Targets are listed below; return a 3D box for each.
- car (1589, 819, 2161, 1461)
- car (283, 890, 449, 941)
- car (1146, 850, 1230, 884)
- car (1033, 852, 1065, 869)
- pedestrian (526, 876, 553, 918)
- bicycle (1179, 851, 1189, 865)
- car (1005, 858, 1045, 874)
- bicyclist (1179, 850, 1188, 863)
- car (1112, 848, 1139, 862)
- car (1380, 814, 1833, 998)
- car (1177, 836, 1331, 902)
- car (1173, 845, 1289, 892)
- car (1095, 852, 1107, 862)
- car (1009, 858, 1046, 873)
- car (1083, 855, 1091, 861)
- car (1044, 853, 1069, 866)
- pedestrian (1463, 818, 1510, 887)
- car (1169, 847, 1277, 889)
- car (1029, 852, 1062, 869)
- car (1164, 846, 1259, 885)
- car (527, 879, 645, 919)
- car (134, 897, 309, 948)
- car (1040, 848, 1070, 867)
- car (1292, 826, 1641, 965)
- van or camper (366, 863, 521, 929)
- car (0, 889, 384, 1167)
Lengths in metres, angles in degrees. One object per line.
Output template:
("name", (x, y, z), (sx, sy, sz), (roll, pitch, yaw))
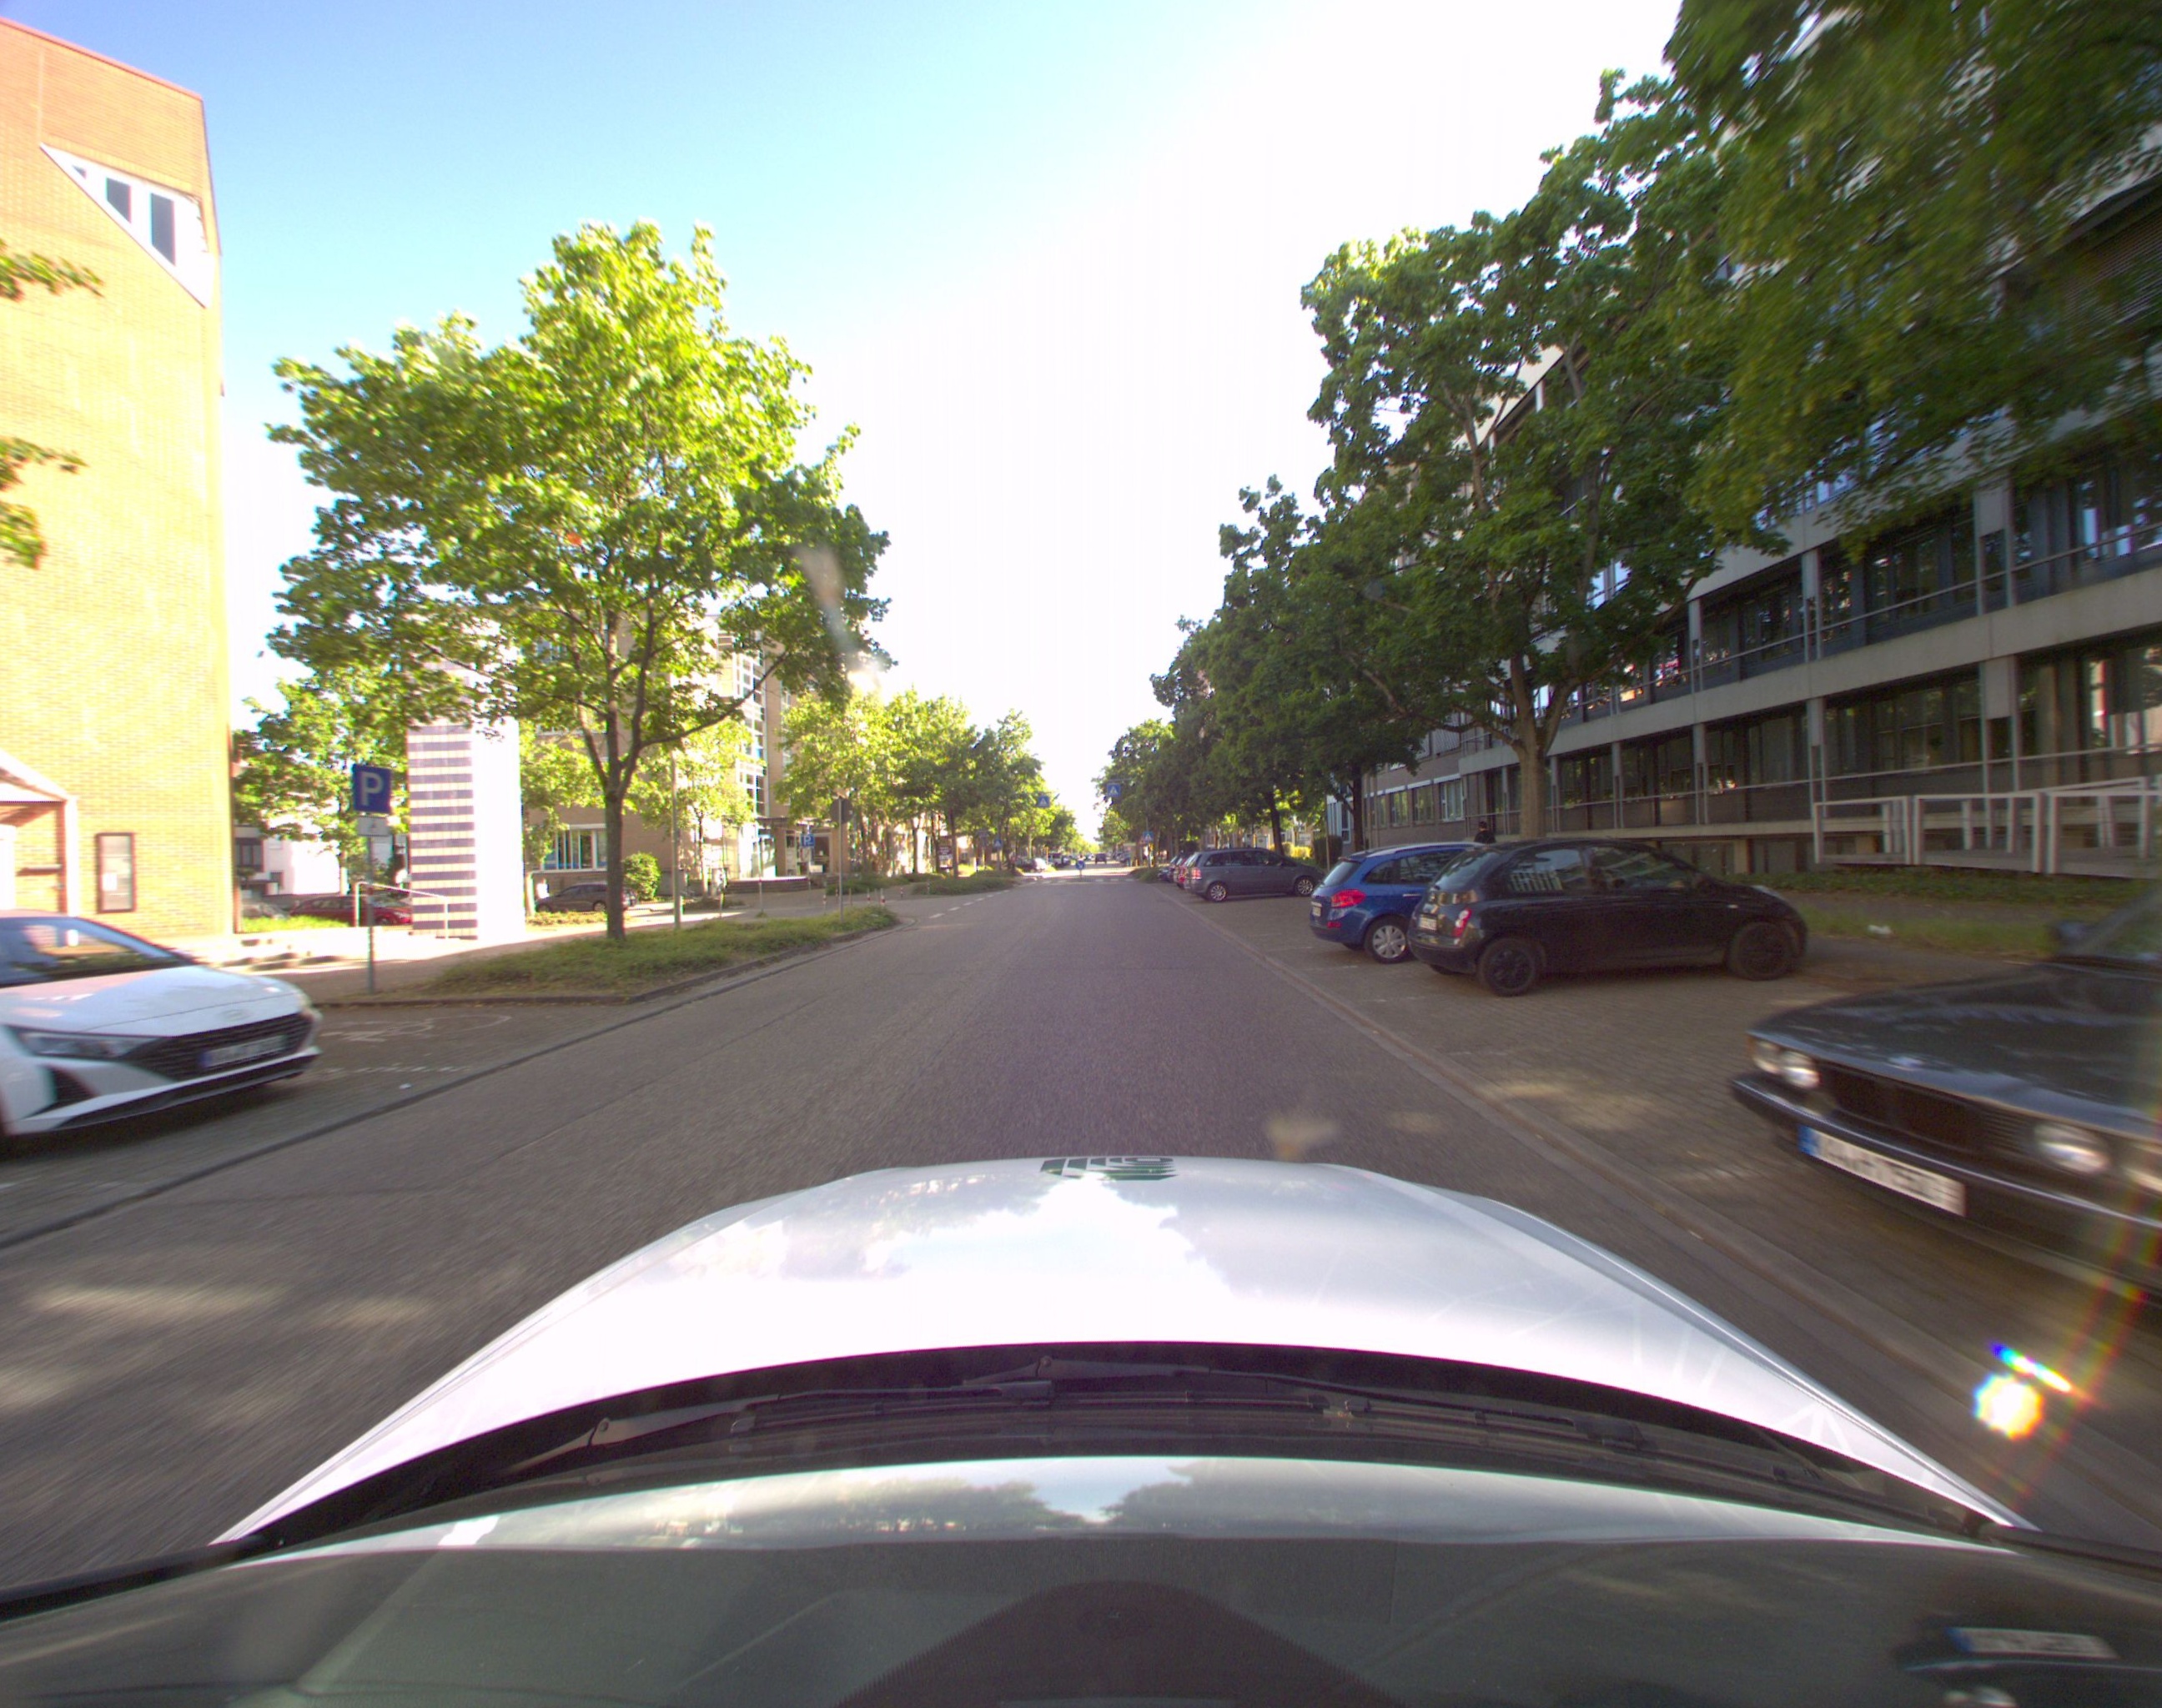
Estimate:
("car", (4.912, 0.566, 2.973), (4.811, 1.420, 2.031), (-4, 0, -1))
("car", (-25.550, 2.192, 29.223), (4.176, 1.477, 2.000), (-4, -3, 1))
("car", (5.686, 0.702, 43.760), (4.180, 1.473, 1.811), (-4, 0, -2))
("car", (-4.320, 0.883, 110.545), (3.968, 2.013, 2.003), (-3, 0, 5))
("pedestrian", (-26.639, 2.094, 40.066), (0.782, 2.013, 0.811), (-3, -1, -7))
("bicycle", (9.643, 0.394, 76.384), (0.679, 1.214, 1.983), (-3, 0, 12))
("car", (-5.506, 1.156, 80.287), (3.844, 1.473, 1.809), (-1, 0, -6))
("bicyclist", (9.637, 0.241, 76.369), (0.693, 1.214, 0.948), (-3, 0, 12))
("car", (7.080, 0.091, 129.763), (3.975, 2.013, 1.999), (-3, 0, -1))
("car", (5.393, 0.505, 8.766), (3.628, 1.514, 1.813), (-4, 0, 1))
("car", (5.363, 0.456, 25.563), (4.339, 1.704, 1.811), (-4, 0, -2))
("car", (5.927, 0.556, 32.437), (4.180, 1.536, 1.811), (-4, 0, -2))
("car", (3.460, 0.516, 141.232), (1.986, 1.640, 4.001), (-1, 0, 1))
("car", (-5.569, 1.230, 84.863), (3.842, 1.473, 1.809), (-1, 0, -5))
("car", (1.483, 0.944, 192.230), (1.806, 1.525, 4.002), (-3, 0, 2))
("car", (-4.062, 0.885, 134.940), (3.975, 2.013, 1.999), (-3, 0, -1))
("pedestrian", (10.729, -0.043, 21.582), (0.605, 1.745, 1.191), (-3, 0, 1))
("car", (5.945, 0.584, 34.438), (4.180, 1.448, 1.811), (-4, 0, -2))
("car", (-4.663, 0.899, 107.708), (3.968, 2.013, 2.003), (-3, 0, 5))
("car", (6.205, 0.524, 39.037), (4.180, 1.536, 1.811), (-4, 0, -2))
("car", (-22.969, 2.081, 37.892), (4.176, 1.477, 2.001), (-3, 1, 1))
("car", (-30.762, 2.421, 29.251), (4.176, 1.477, 2.000), (-4, -3, 1))
("car", (-3.692, 0.499, 115.727), (3.967, 2.541, 1.865), (-1, 0, 5))
("car", (5.158, 0.537, 11.334), (3.934, 1.514, 1.814), (-4, 0, 2))
("van or camper", (-29.704, 1.916, 38.089), (5.350, 2.674, 2.181), (-3, 1, 0))
("car", (-7.515, 1.068, 5.512), (3.974, 1.486, 1.806), (-2, 0, 0))
